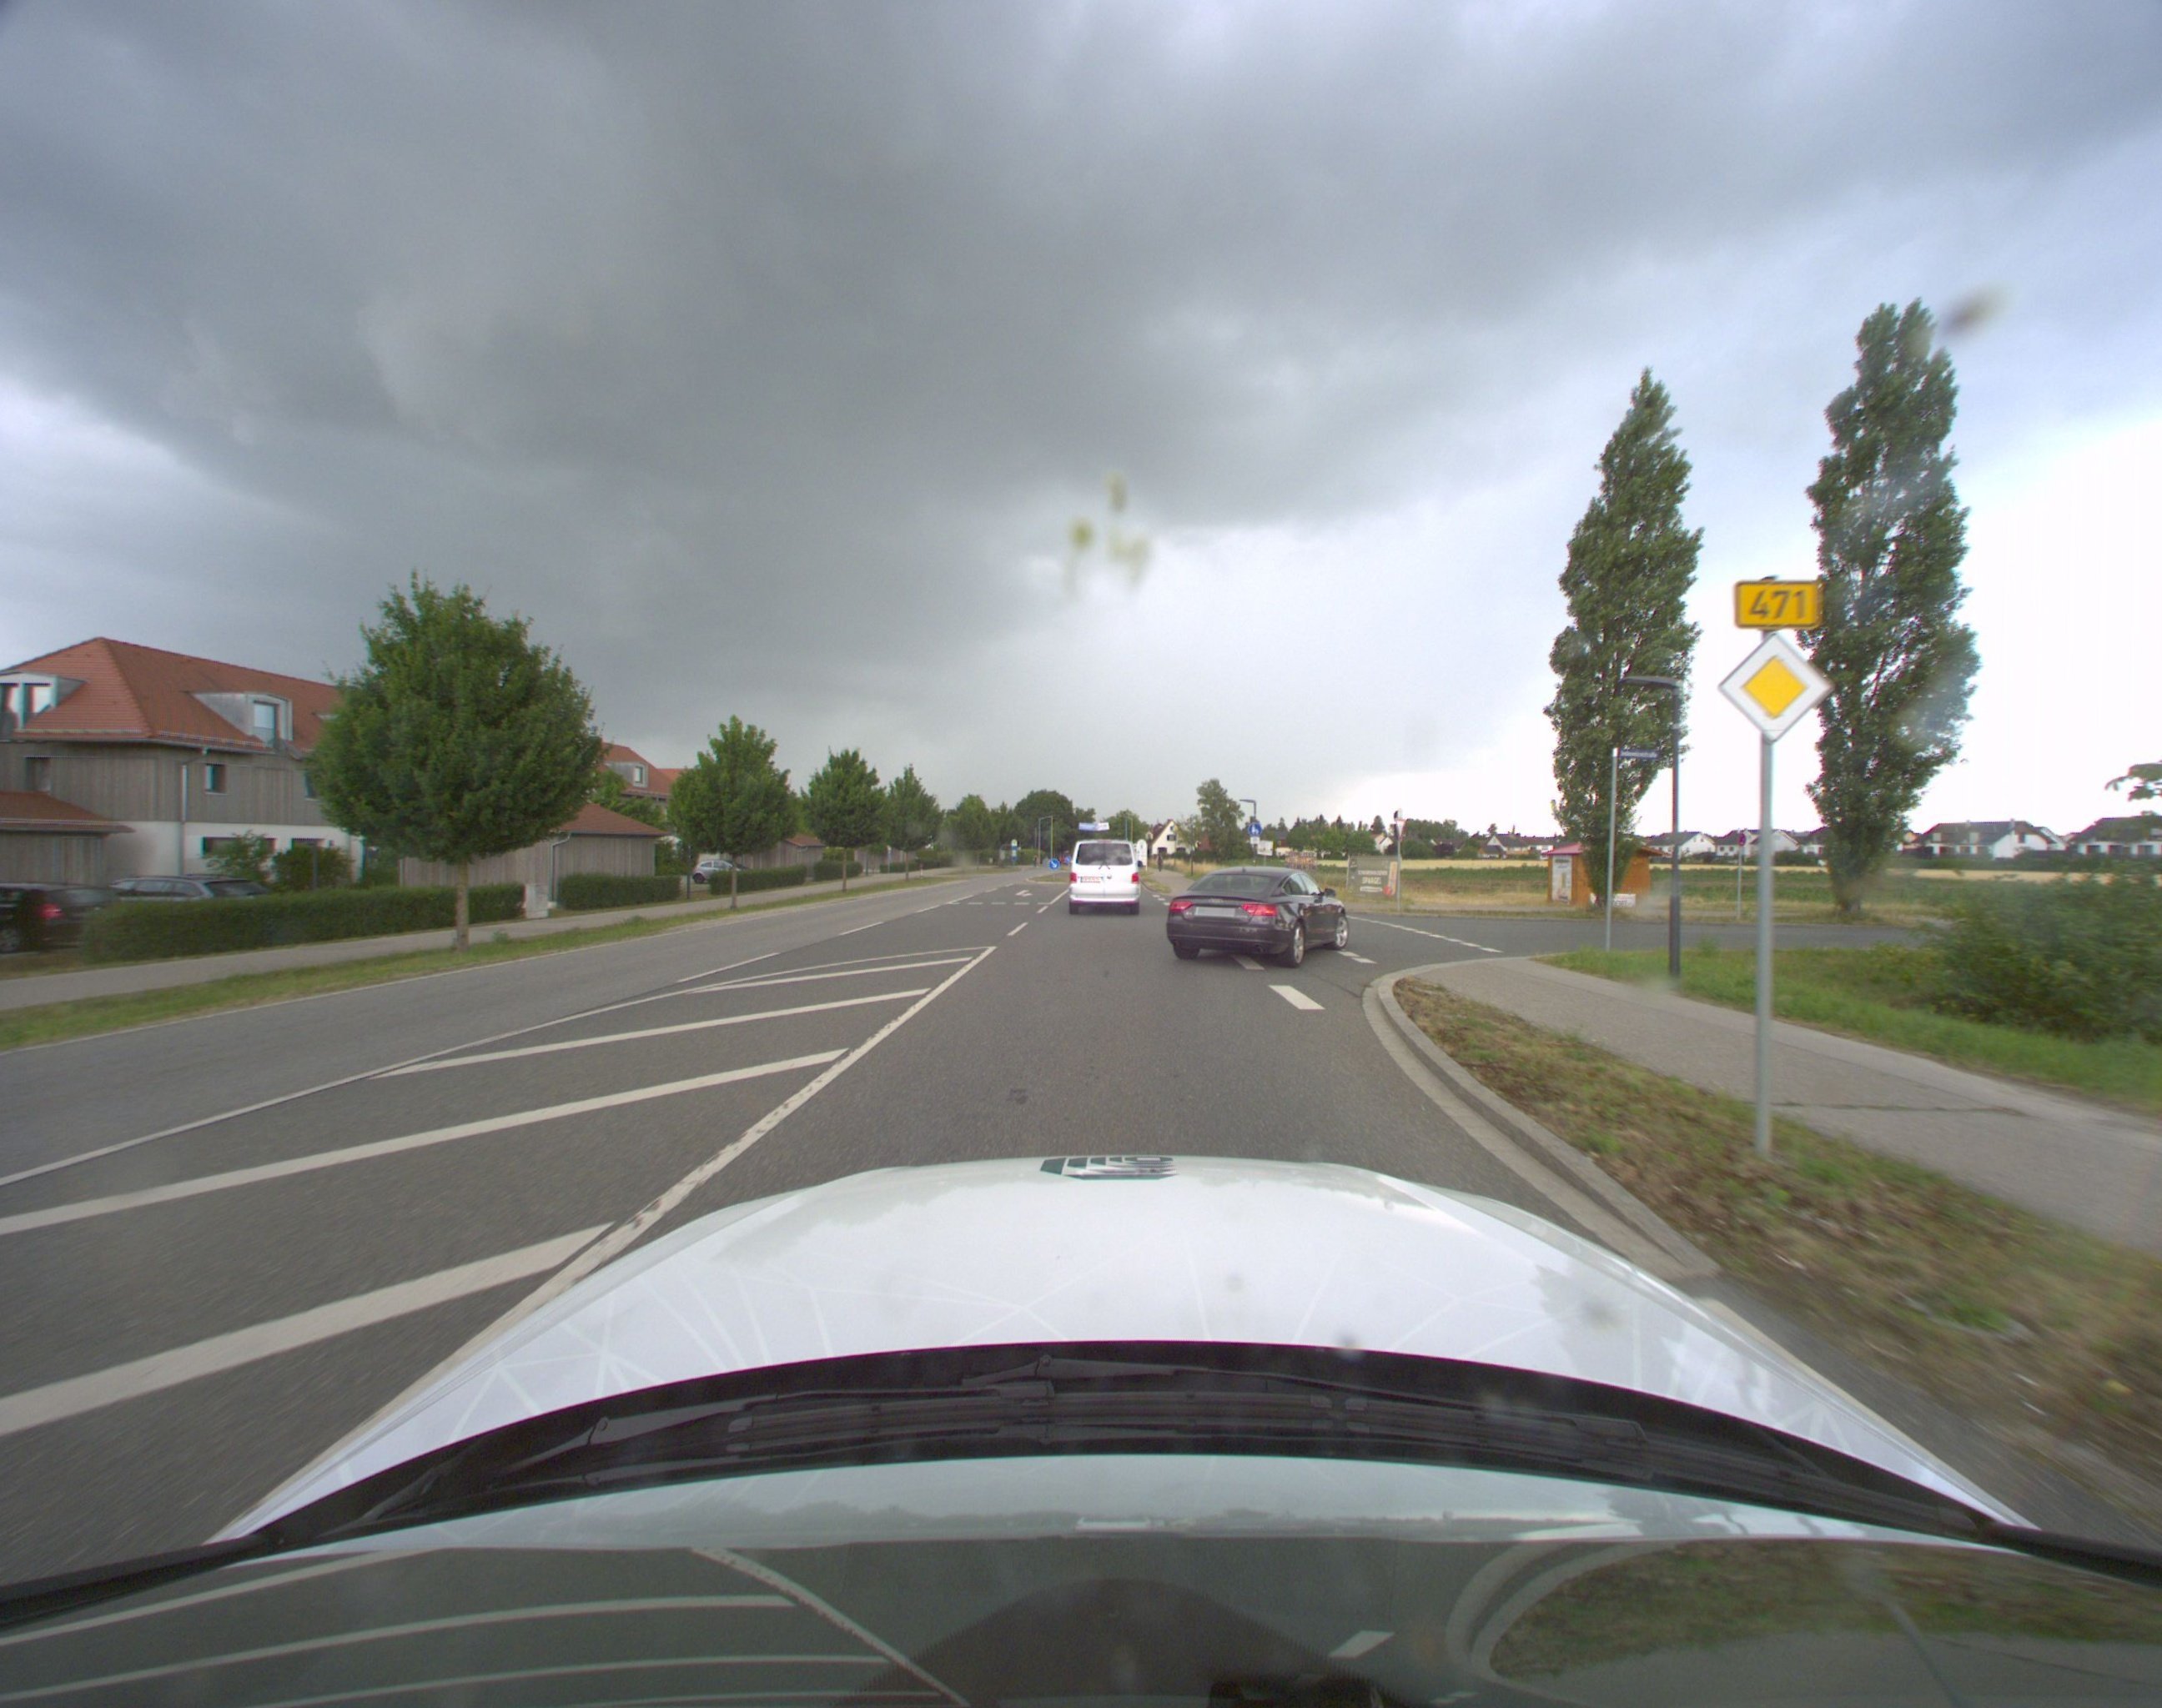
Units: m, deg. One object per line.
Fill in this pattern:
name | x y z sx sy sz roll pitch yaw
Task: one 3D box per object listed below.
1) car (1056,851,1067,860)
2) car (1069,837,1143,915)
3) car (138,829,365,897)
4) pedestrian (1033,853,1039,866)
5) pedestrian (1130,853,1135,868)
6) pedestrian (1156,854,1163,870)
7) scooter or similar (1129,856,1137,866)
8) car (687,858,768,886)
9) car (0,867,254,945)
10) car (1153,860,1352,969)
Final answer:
car | -3.184 0.227 133.275 1.647 1.429 3.603 -1 0 2
car | 0.649 0.547 22.492 1.819 1.913 4.000 1 0 0
car | -21.713 0.213 21.437 3.970 1.618 2.002 -1 0 3
pedestrian | -5.465 0.634 99.410 0.621 1.525 0.680 -1 0 1
pedestrian | 5.737 0.739 91.068 0.483 1.732 0.642 -1 0 1
pedestrian | 7.709 0.796 79.652 0.621 1.525 0.680 -1 0 1
scooter or similar | 5.824 0.835 91.970 0.845 1.103 1.095 -1 0 2
car | -21.383 1.067 49.376 3.970 1.556 2.002 2 0 3
car | -22.404 1.182 19.118 3.970 1.618 2.002 -1 0 3
car | 2.871 0.837 12.773 1.808 1.389 4.414 -1 -2 29
